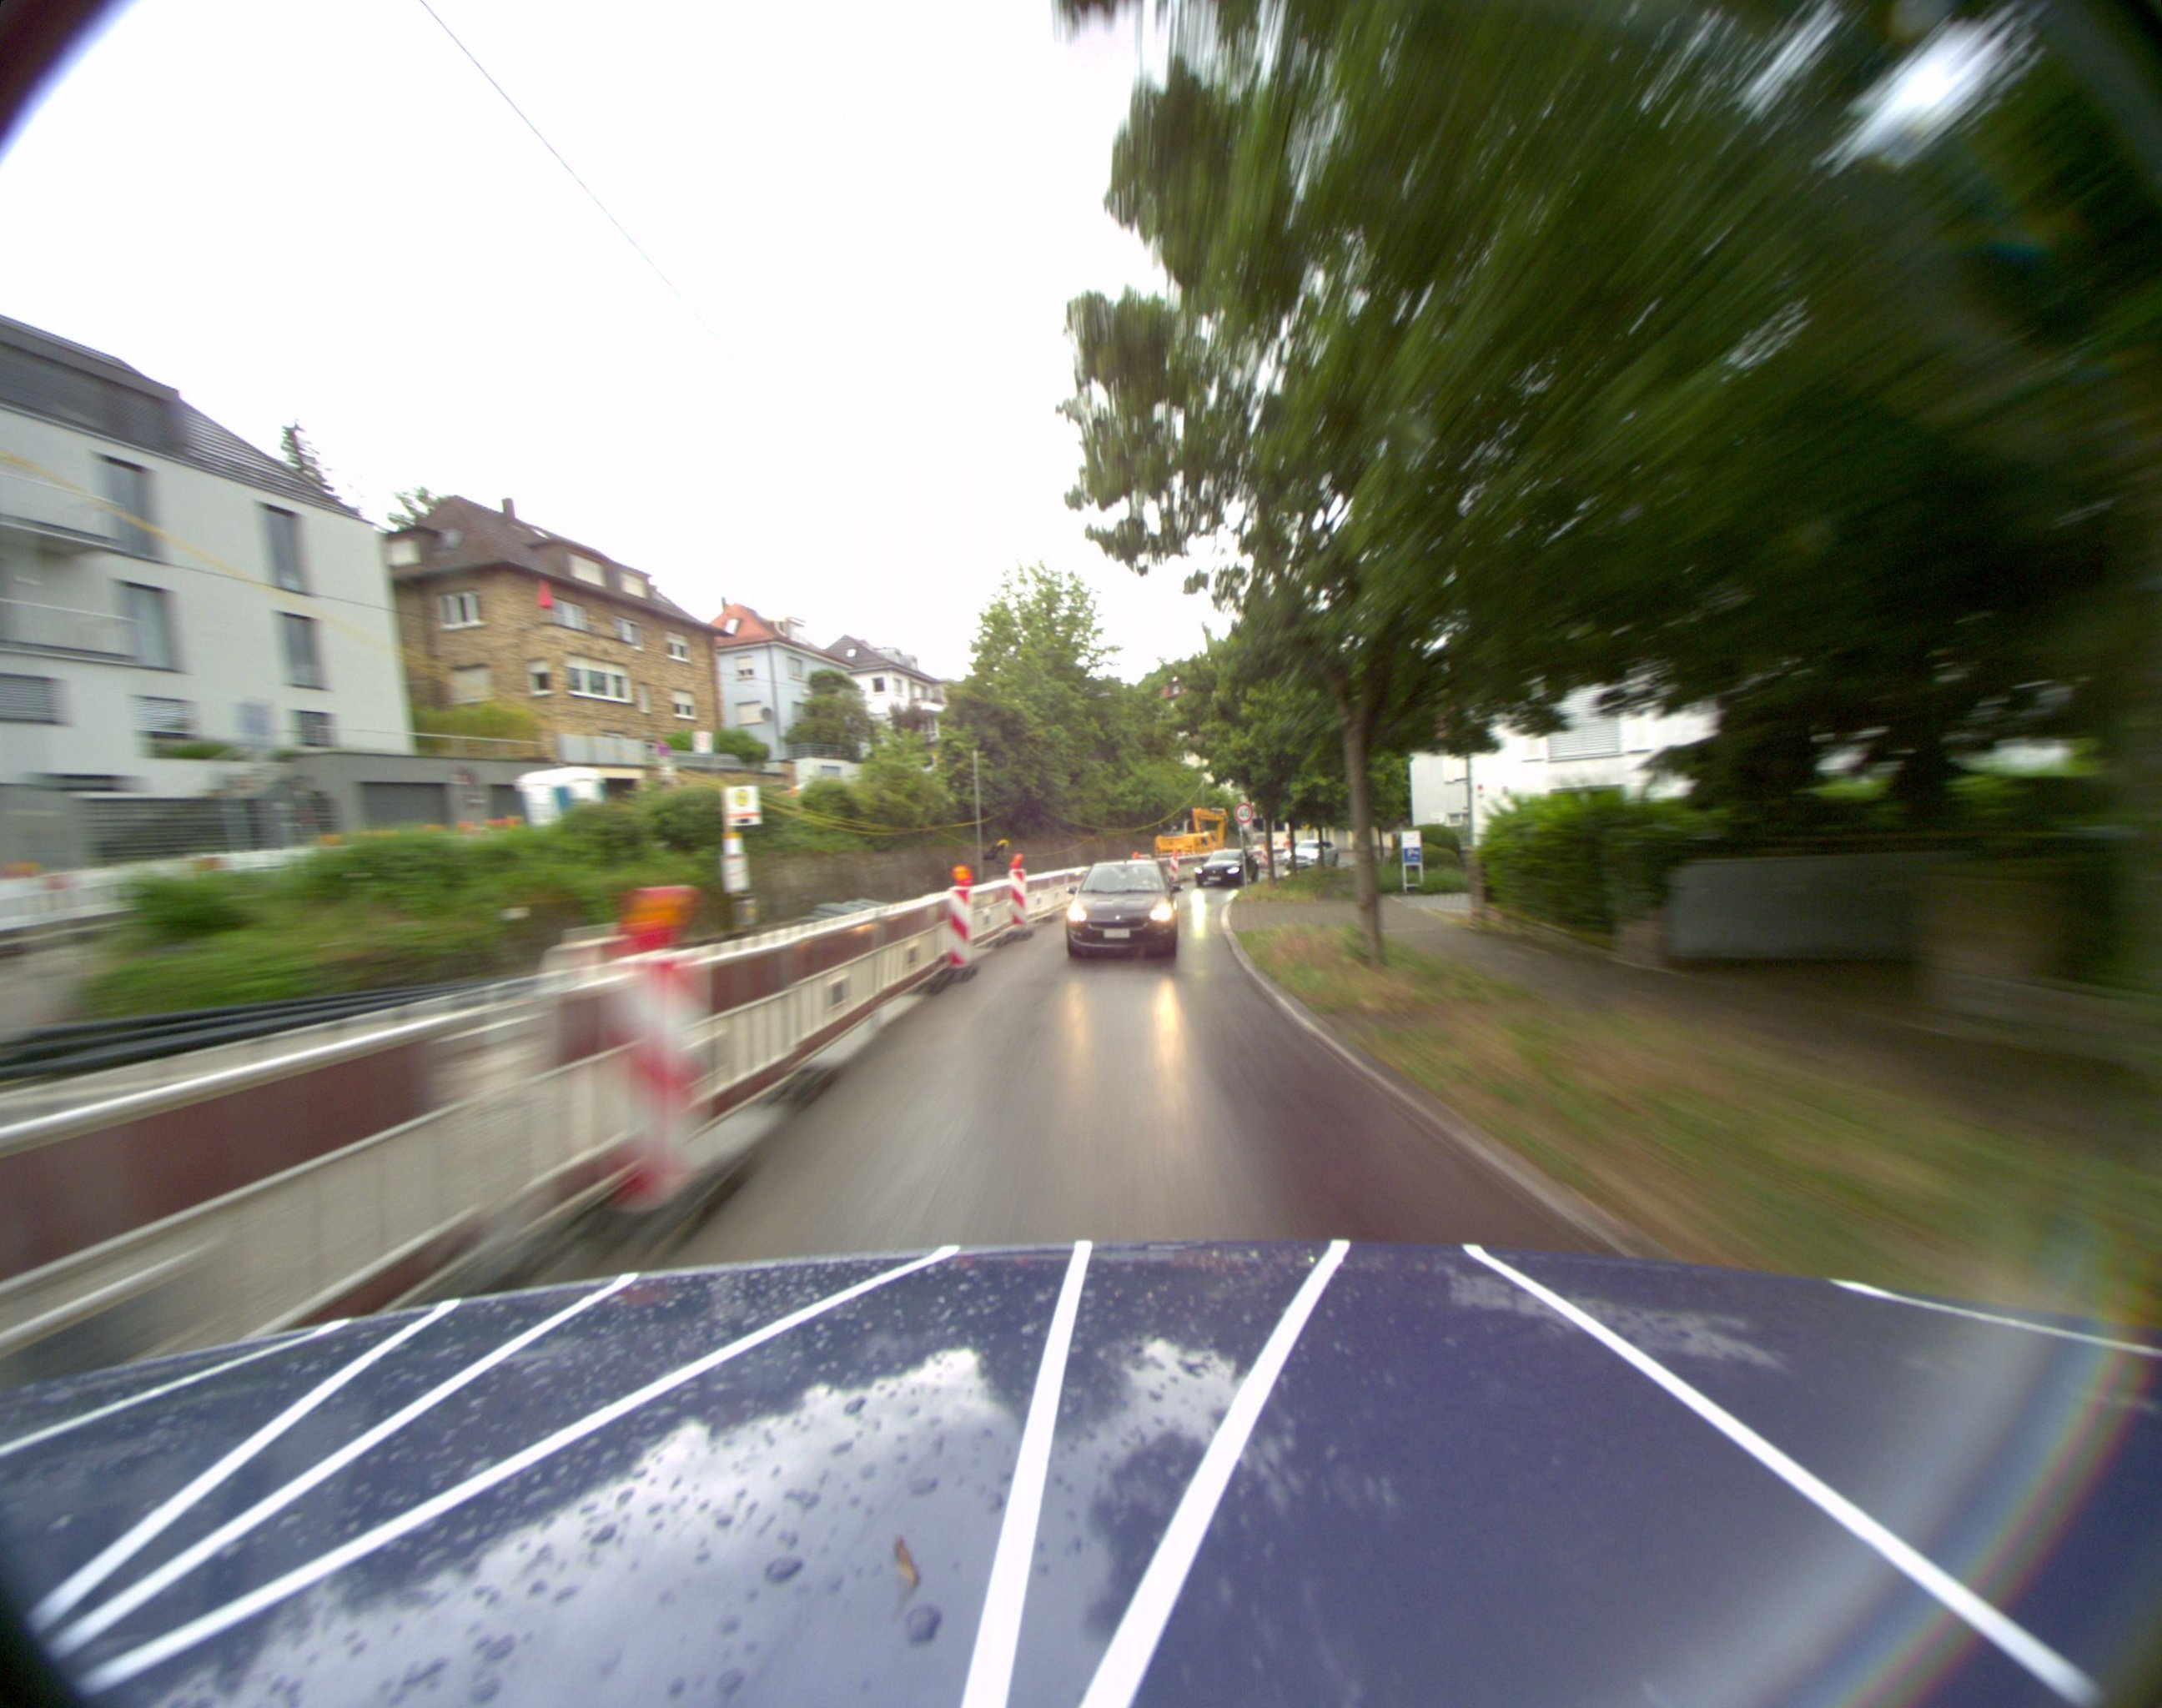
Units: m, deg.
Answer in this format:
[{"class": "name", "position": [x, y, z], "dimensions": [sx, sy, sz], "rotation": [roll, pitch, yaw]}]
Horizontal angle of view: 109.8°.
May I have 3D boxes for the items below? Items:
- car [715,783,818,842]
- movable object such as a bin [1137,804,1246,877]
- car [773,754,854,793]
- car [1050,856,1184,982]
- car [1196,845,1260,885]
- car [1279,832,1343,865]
[{"class": "car", "position": [-14.025, -1.938, 34.206], "dimensions": [1.898, 2.069, 4.425], "rotation": [-2, 9, 12]}, {"class": "movable object such as a bin", "position": [6.573, -0.843, 44.059], "dimensions": [3.323, 3.818, 7.216], "rotation": [-2, 1, 34]}, {"class": "car", "position": [-13.333, -4.078, 38.146], "dimensions": [1.858, 1.629, 3.961], "rotation": [-2, 9, 12]}, {"class": "car", "position": [0.737, 0.861, 12.223], "dimensions": [1.673, 1.458, 4.717], "rotation": [-3, 1, 7]}, {"class": "car", "position": [6.165, 0.424, 31.507], "dimensions": [1.840, 1.395, 4.076], "rotation": [-2, 1, 22]}, {"class": "car", "position": [13.615, -0.361, 44.888], "dimensions": [1.996, 1.699, 4.582], "rotation": [-2, 2, 39]}]
